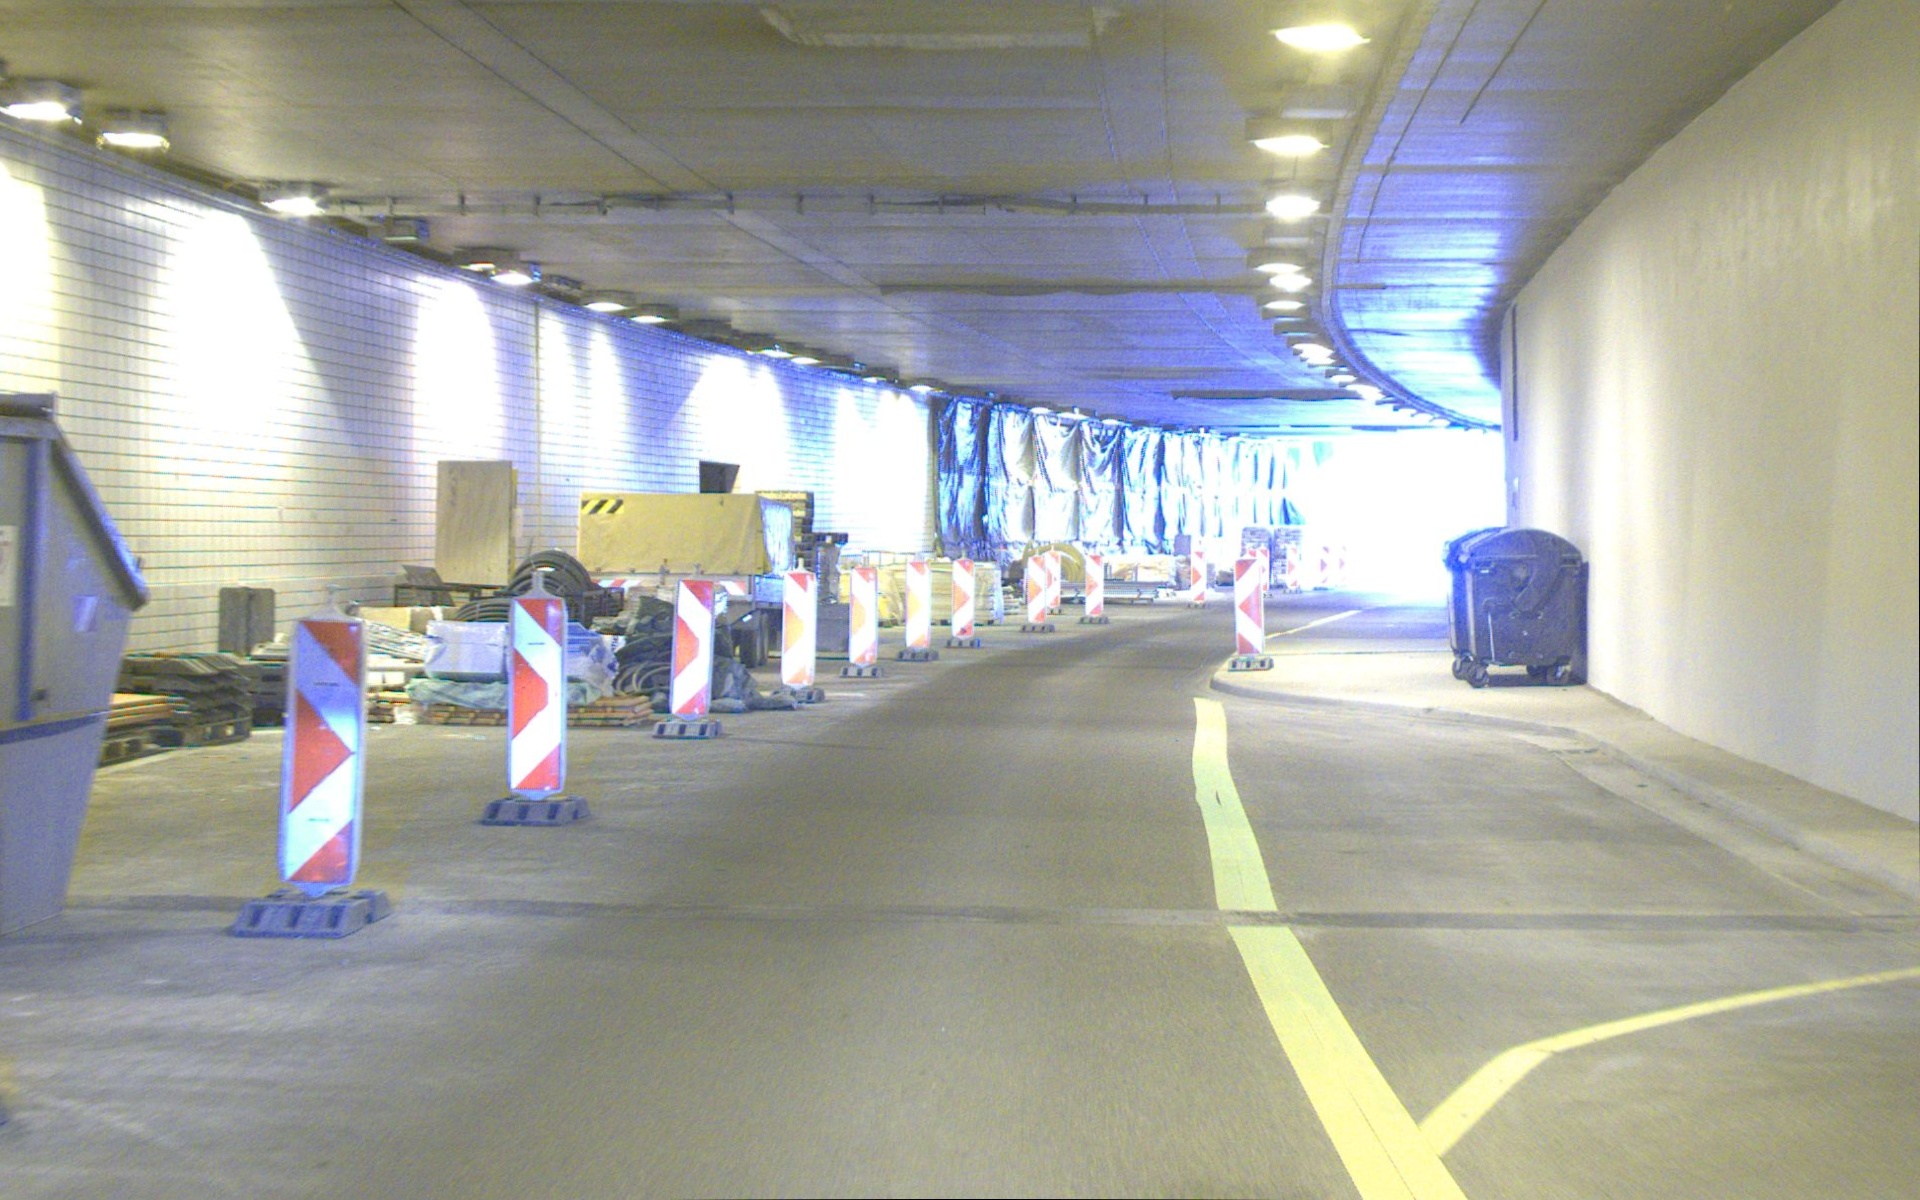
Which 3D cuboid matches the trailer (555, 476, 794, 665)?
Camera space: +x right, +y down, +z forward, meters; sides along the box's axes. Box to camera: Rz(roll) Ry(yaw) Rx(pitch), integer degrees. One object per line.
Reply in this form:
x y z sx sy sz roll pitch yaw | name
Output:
-3.164 -0.333 38.787 2.208 2.007 3.466 1 1 3 | trailer

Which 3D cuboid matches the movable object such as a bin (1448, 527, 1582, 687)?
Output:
5.142 0.060 31.932 1.098 1.440 1.322 1 0 5 | movable object such as a bin

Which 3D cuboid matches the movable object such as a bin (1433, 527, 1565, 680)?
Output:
5.216 0.027 33.370 1.145 1.440 1.363 1 0 5 | movable object such as a bin
